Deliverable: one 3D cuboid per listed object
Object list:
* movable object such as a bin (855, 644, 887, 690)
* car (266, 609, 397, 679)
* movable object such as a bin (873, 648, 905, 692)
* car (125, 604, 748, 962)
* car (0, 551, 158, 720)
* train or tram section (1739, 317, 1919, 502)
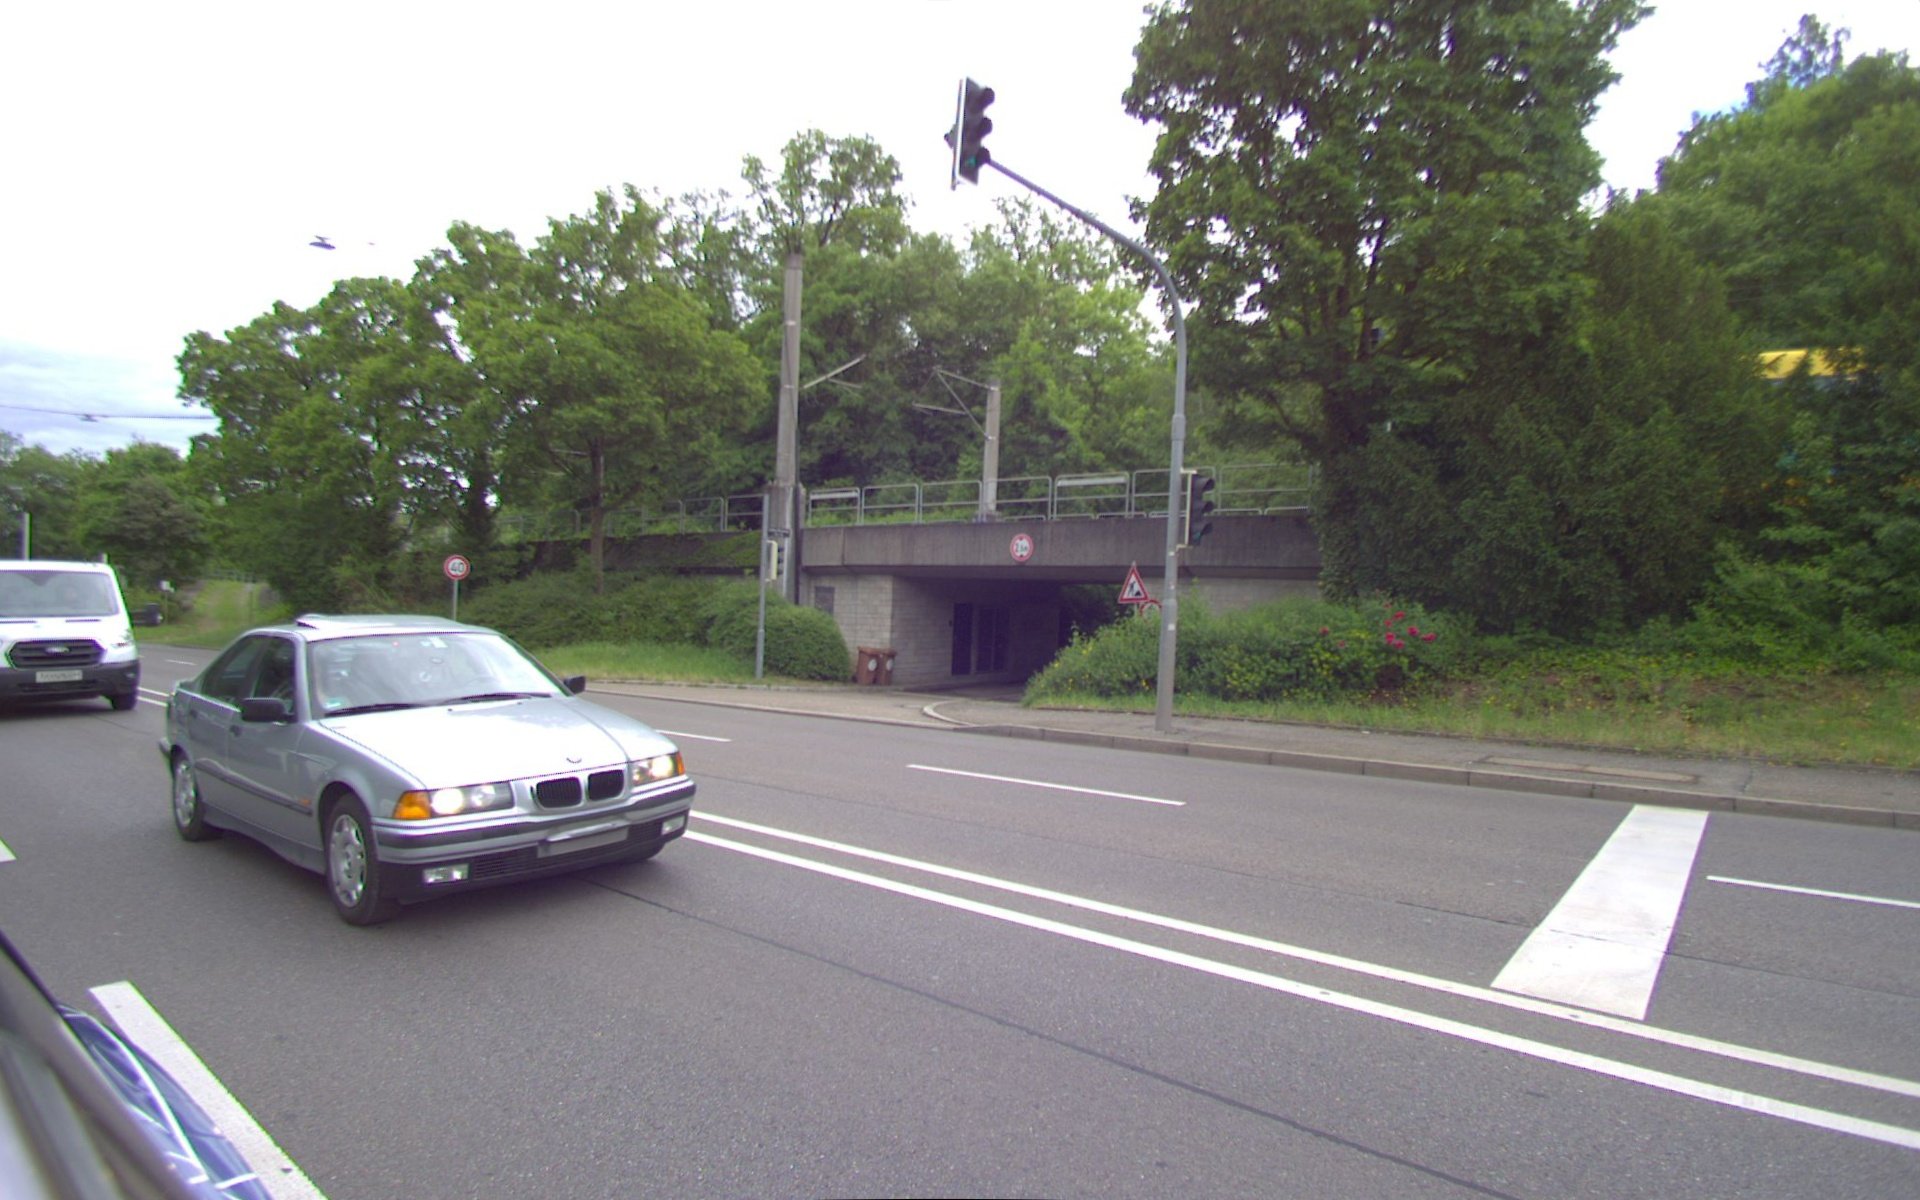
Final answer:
[{"bbox_3d":[-2.202,1.667,25.099,0.563,1.107,0.537,-1,-3,39],"label":"movable object such as a bin"},{"bbox_3d":[-15.139,0.992,24.314,3.748,1.552,1.656,0,-1,41],"label":"car"},{"bbox_3d":[-1.790,1.747,25.418,0.563,1.085,0.537,-1,-3,39],"label":"movable object such as a bin"},{"bbox_3d":[-3.431,0.747,6.151,4.611,1.404,1.735,0,-1,40],"label":"car"},{"bbox_3d":[-14.435,0.471,15.307,6.662,2.142,2.225,0,0,39],"label":"car"},{"bbox_3d":[19.012,-3.512,17.950,8.138,3.066,2.038,1,1,37],"label":"train or tram section"}]
